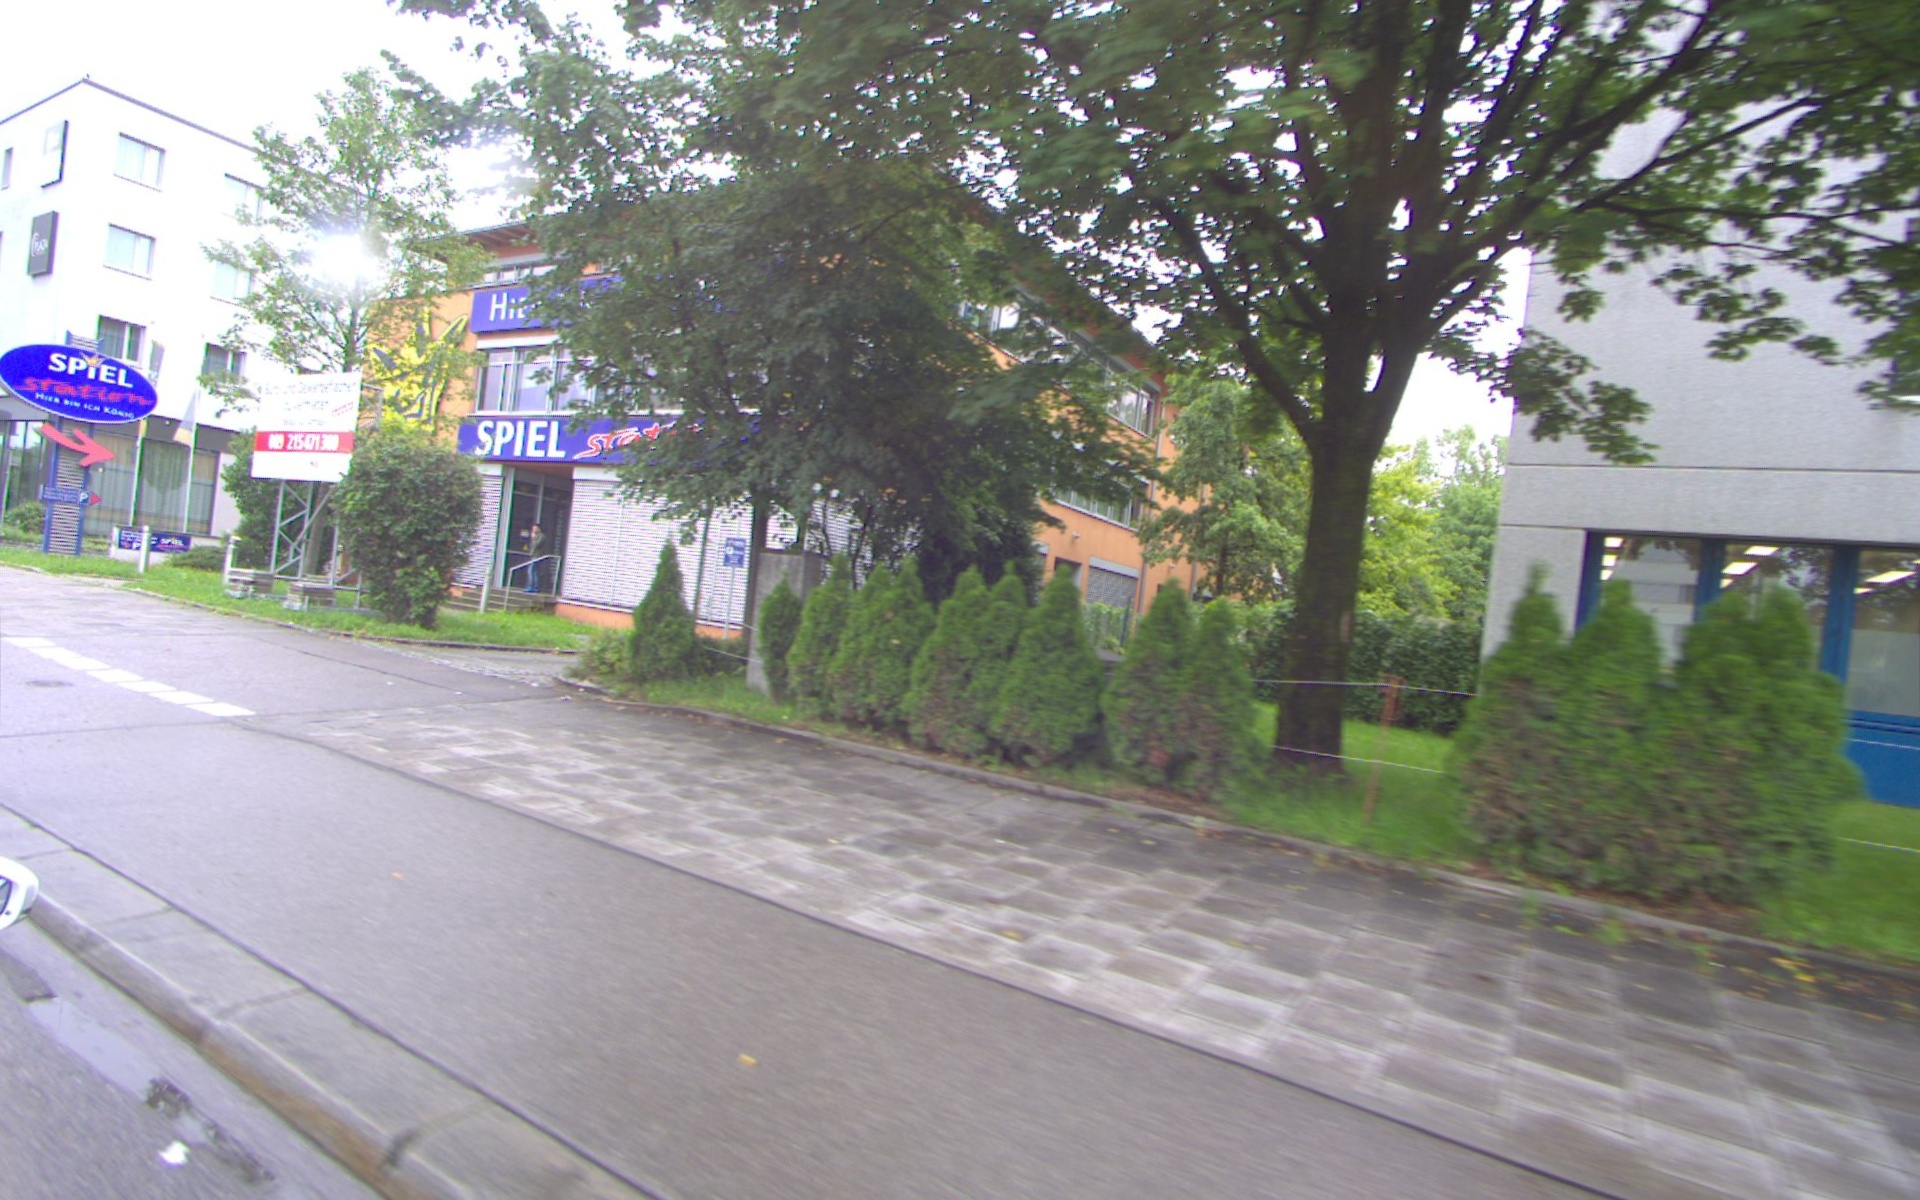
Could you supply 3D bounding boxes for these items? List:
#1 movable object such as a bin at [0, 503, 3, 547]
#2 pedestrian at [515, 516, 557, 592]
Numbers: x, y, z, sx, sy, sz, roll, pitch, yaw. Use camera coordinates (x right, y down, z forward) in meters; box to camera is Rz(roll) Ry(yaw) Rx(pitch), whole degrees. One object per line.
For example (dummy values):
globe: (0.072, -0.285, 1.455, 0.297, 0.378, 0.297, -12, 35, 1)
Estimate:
movable object such as a bin: (-24.576, -1.928, 25.178, 0.644, 1.092, 0.737, 7, 1, 33)
pedestrian: (-10.245, -1.106, 24.307, 0.649, 1.734, 0.661, 6, 1, -9)
